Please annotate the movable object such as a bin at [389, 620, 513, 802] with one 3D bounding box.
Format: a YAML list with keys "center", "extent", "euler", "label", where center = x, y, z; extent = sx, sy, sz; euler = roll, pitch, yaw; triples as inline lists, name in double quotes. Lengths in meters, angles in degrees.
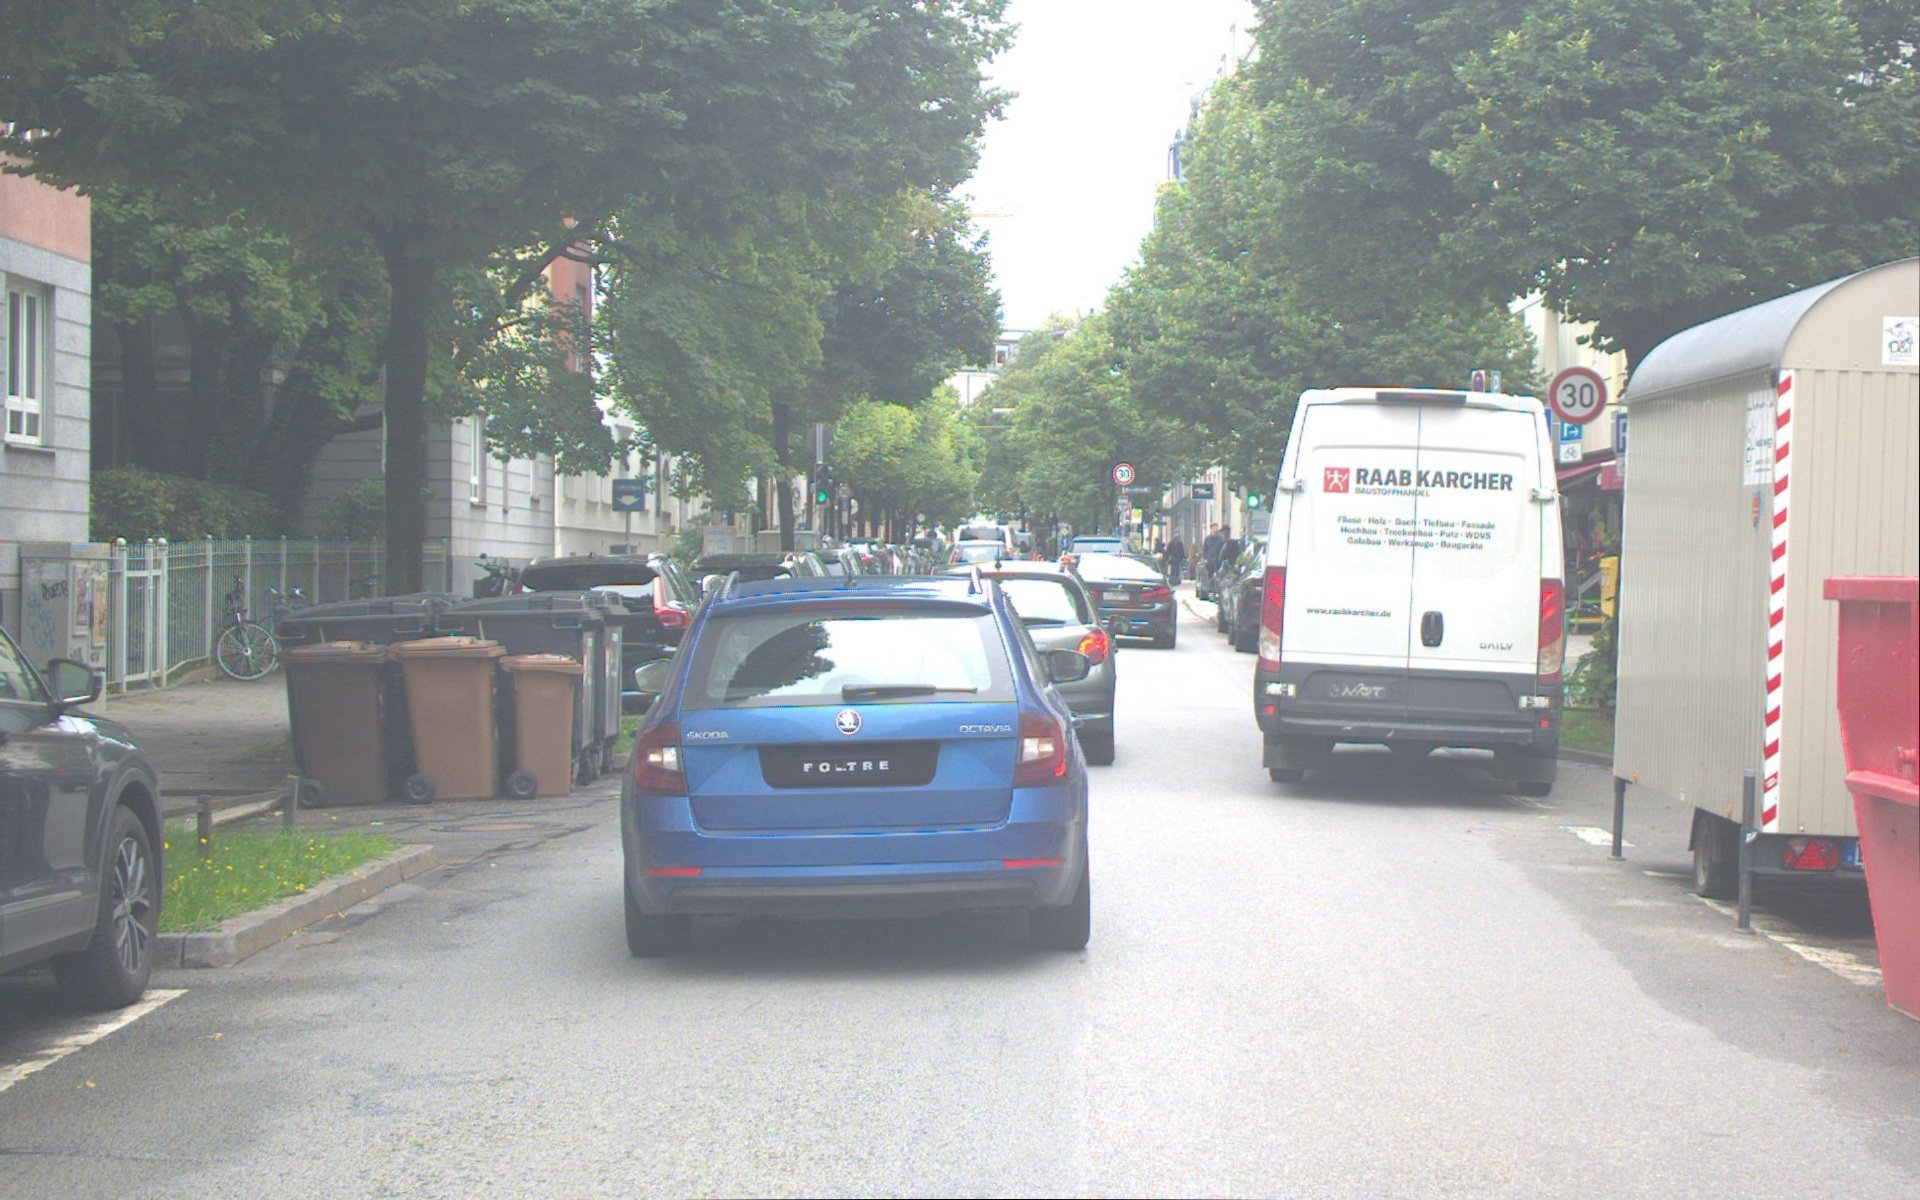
- center: [-3.335, 0.718, 22.566]
  extent: [0.711, 1.144, 0.636]
  euler: [-2, 1, -2]
  label: "movable object such as a bin"

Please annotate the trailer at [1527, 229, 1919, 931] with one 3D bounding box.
- center: [4.653, -0.066, 17.367]
  extent: [2.502, 2.830, 6.901]
  euler: [2, 0, 1]
  label: "trailer"

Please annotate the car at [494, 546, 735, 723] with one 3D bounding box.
- center: [-3.076, 0.266, 31.293]
  extent: [1.812, 1.473, 4.000]
  euler: [1, 1, -1]
  label: "car"

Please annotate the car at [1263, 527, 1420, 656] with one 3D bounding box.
- center: [5.306, -0.150, 48.269]
  extent: [1.825, 1.721, 4.000]
  euler: [0, 1, 1]
  label: "car"

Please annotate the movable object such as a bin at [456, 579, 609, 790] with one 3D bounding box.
- center: [-2.904, 0.561, 23.469]
  extent: [0.918, 1.372, 1.080]
  euler: [-2, 1, -3]
  label: "movable object such as a bin"

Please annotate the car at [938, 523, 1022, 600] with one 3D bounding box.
- center: [0.479, -0.916, 79.857]
  extent: [1.867, 1.690, 4.347]
  euler: [2, 1, 1]
  label: "car"

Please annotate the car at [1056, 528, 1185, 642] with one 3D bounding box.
- center: [2.529, -0.271, 54.975]
  extent: [1.867, 1.690, 4.347]
  euler: [2, 1, 1]
  label: "car"

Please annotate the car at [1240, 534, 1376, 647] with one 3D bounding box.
- center: [5.473, -0.174, 54.484]
  extent: [1.825, 1.721, 4.000]
  euler: [0, 1, 1]
  label: "car"

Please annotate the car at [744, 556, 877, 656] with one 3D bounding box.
- center: [-2.312, 0.064, 54.054]
  extent: [1.812, 1.473, 4.000]
  euler: [1, 1, 1]
  label: "car"

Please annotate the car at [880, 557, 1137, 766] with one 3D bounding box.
- center: [0.428, 0.412, 25.782]
  extent: [1.741, 1.417, 3.663]
  euler: [1, 0, 3]
  label: "car"

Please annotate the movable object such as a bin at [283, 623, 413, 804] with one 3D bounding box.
- center: [-4.003, 0.736, 22.527]
  extent: [0.721, 1.134, 0.658]
  euler: [-2, 1, -2]
  label: "movable object such as a bin"

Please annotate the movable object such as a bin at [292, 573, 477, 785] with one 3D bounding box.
- center: [-3.901, 0.522, 23.410]
  extent: [1.081, 1.372, 1.084]
  euler: [-2, 1, -3]
  label: "movable object such as a bin"

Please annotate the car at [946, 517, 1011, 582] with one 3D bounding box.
- center: [0.560, -1.540, 103.421]
  extent: [1.867, 1.863, 4.347]
  euler: [2, 1, 0]
  label: "car"

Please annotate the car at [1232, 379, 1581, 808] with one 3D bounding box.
- center: [3.163, -0.052, 24.504]
  extent: [2.113, 2.654, 5.498]
  euler: [2, 0, 7]
  label: "car"

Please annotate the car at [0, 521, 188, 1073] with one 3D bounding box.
- center: [-3.722, 0.588, 10.173]
  extent: [1.785, 1.623, 4.185]
  euler: [-1, 1, 2]
  label: "car"

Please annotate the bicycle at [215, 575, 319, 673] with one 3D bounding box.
- center: [-8.001, 0.261, 39.784]
  extent: [0.635, 1.063, 2.387]
  euler: [0, 1, 2]
  label: "bicycle"

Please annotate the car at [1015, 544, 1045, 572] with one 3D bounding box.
- center: [4.382, -2.609, 214.759]
  extent: [1.867, 1.734, 4.347]
  euler: [0, 1, 2]
  label: "car"

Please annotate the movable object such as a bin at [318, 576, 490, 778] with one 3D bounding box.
- center: [-3.949, 0.532, 24.512]
  extent: [1.057, 1.372, 1.096]
  euler: [-2, 1, -3]
  label: "movable object such as a bin"

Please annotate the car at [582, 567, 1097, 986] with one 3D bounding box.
- center: [-0.382, 0.594, 14.114]
  extent: [1.789, 1.455, 4.314]
  euler: [0, 0, 1]
  label: "car"

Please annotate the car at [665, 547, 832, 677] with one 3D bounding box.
- center: [-2.533, 0.111, 42.014]
  extent: [1.812, 1.473, 4.000]
  euler: [1, 1, -1]
  label: "car"

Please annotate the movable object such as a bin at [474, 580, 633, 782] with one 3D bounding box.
- center: [-2.892, 0.562, 24.567]
  extent: [1.020, 1.372, 1.104]
  euler: [-2, 1, -3]
  label: "movable object such as a bin"

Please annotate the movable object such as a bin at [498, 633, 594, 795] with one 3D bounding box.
- center: [-2.715, 0.742, 22.611]
  extent: [0.546, 1.017, 0.636]
  euler: [-2, 1, -2]
  label: "movable object such as a bin"
